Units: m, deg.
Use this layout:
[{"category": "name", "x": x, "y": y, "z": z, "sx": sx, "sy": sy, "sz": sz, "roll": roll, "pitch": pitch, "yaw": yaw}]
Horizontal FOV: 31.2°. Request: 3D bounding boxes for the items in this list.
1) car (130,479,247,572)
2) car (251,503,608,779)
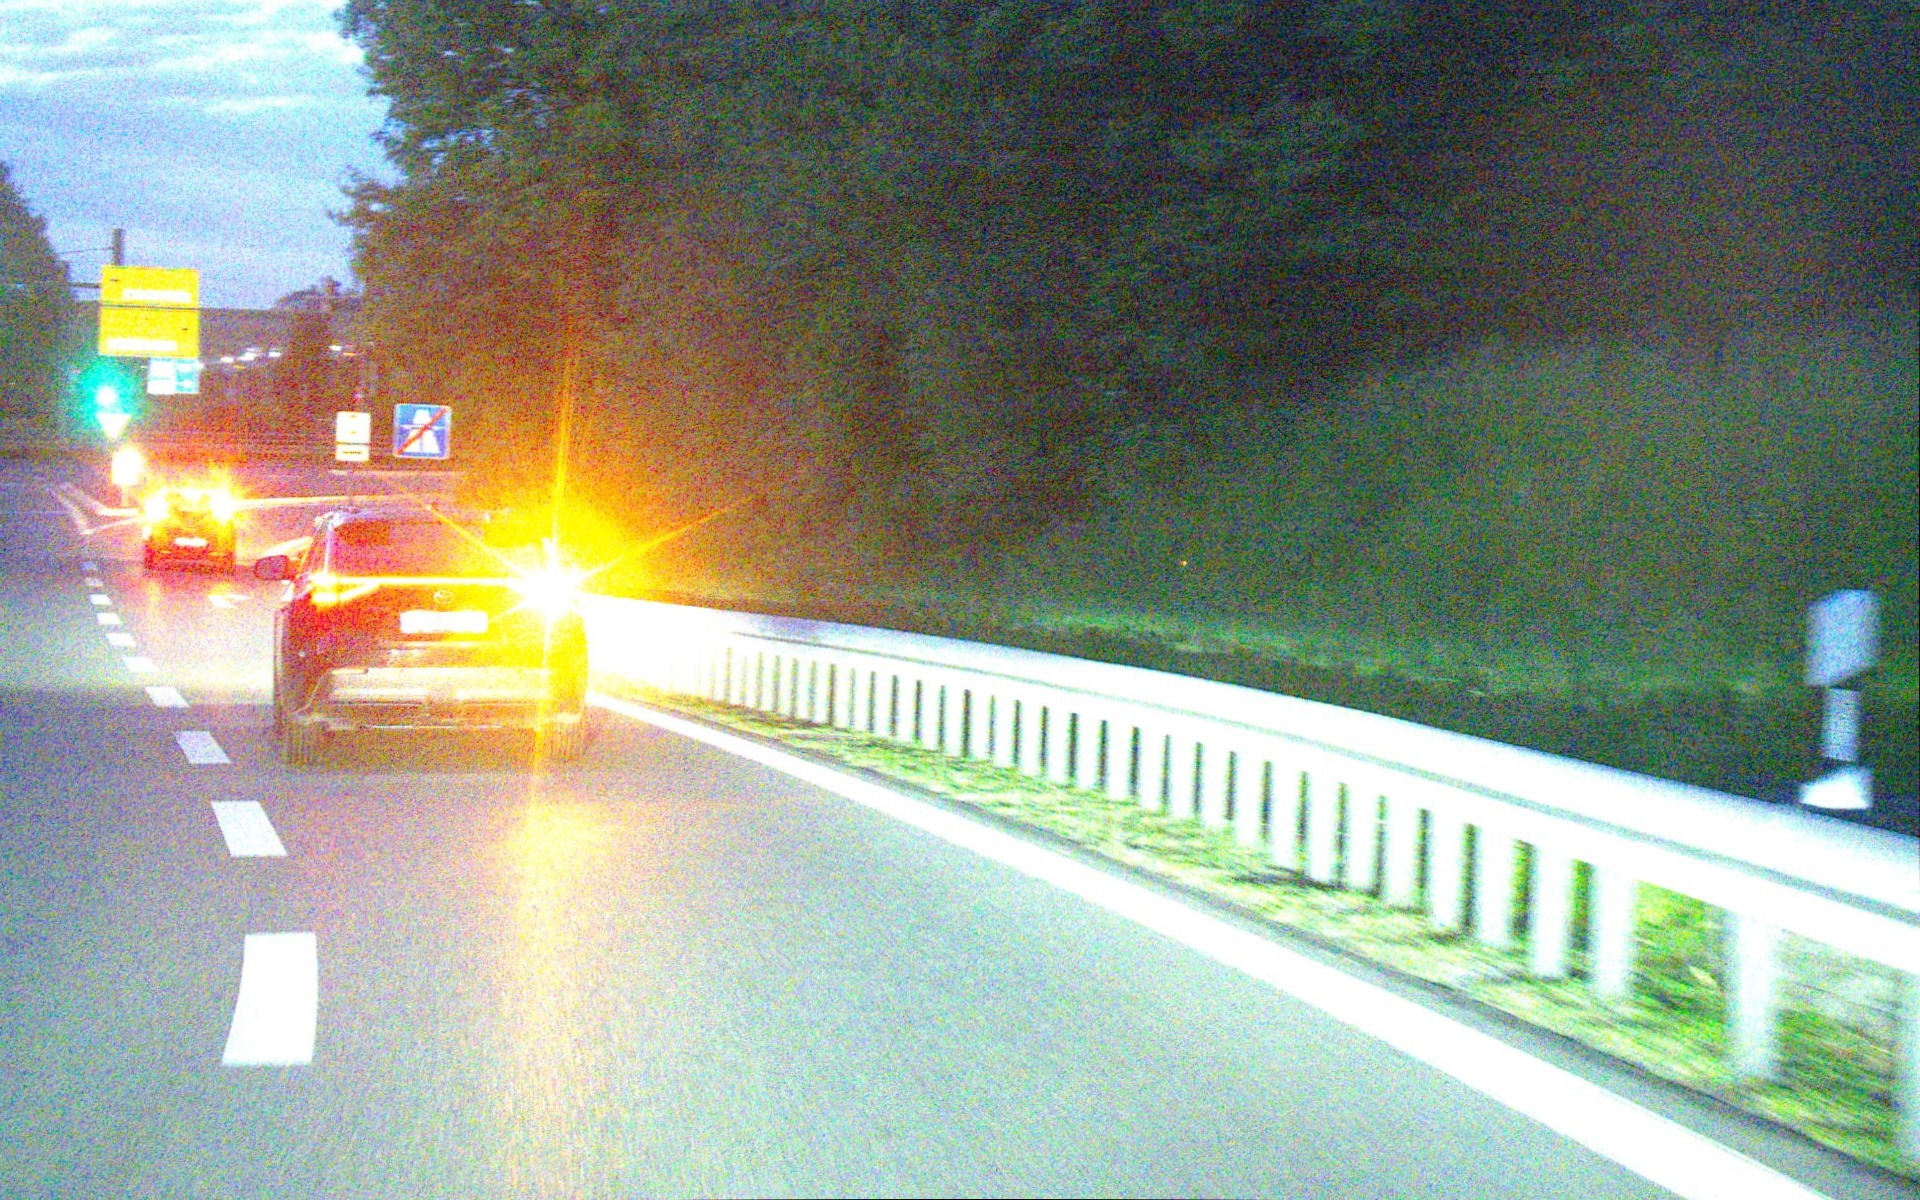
[{"category": "car", "x": -14.432, "y": -1.369, "z": 64.181, "sx": 1.780, "sy": 1.647, "sz": 4.001, "roll": 1, "pitch": 0, "yaw": -17}, {"category": "car", "x": -3.599, "y": 0.192, "z": 22.655, "sx": 1.900, "sy": 1.614, "sz": 4.558, "roll": -1, "pitch": 1, "yaw": -14}]
